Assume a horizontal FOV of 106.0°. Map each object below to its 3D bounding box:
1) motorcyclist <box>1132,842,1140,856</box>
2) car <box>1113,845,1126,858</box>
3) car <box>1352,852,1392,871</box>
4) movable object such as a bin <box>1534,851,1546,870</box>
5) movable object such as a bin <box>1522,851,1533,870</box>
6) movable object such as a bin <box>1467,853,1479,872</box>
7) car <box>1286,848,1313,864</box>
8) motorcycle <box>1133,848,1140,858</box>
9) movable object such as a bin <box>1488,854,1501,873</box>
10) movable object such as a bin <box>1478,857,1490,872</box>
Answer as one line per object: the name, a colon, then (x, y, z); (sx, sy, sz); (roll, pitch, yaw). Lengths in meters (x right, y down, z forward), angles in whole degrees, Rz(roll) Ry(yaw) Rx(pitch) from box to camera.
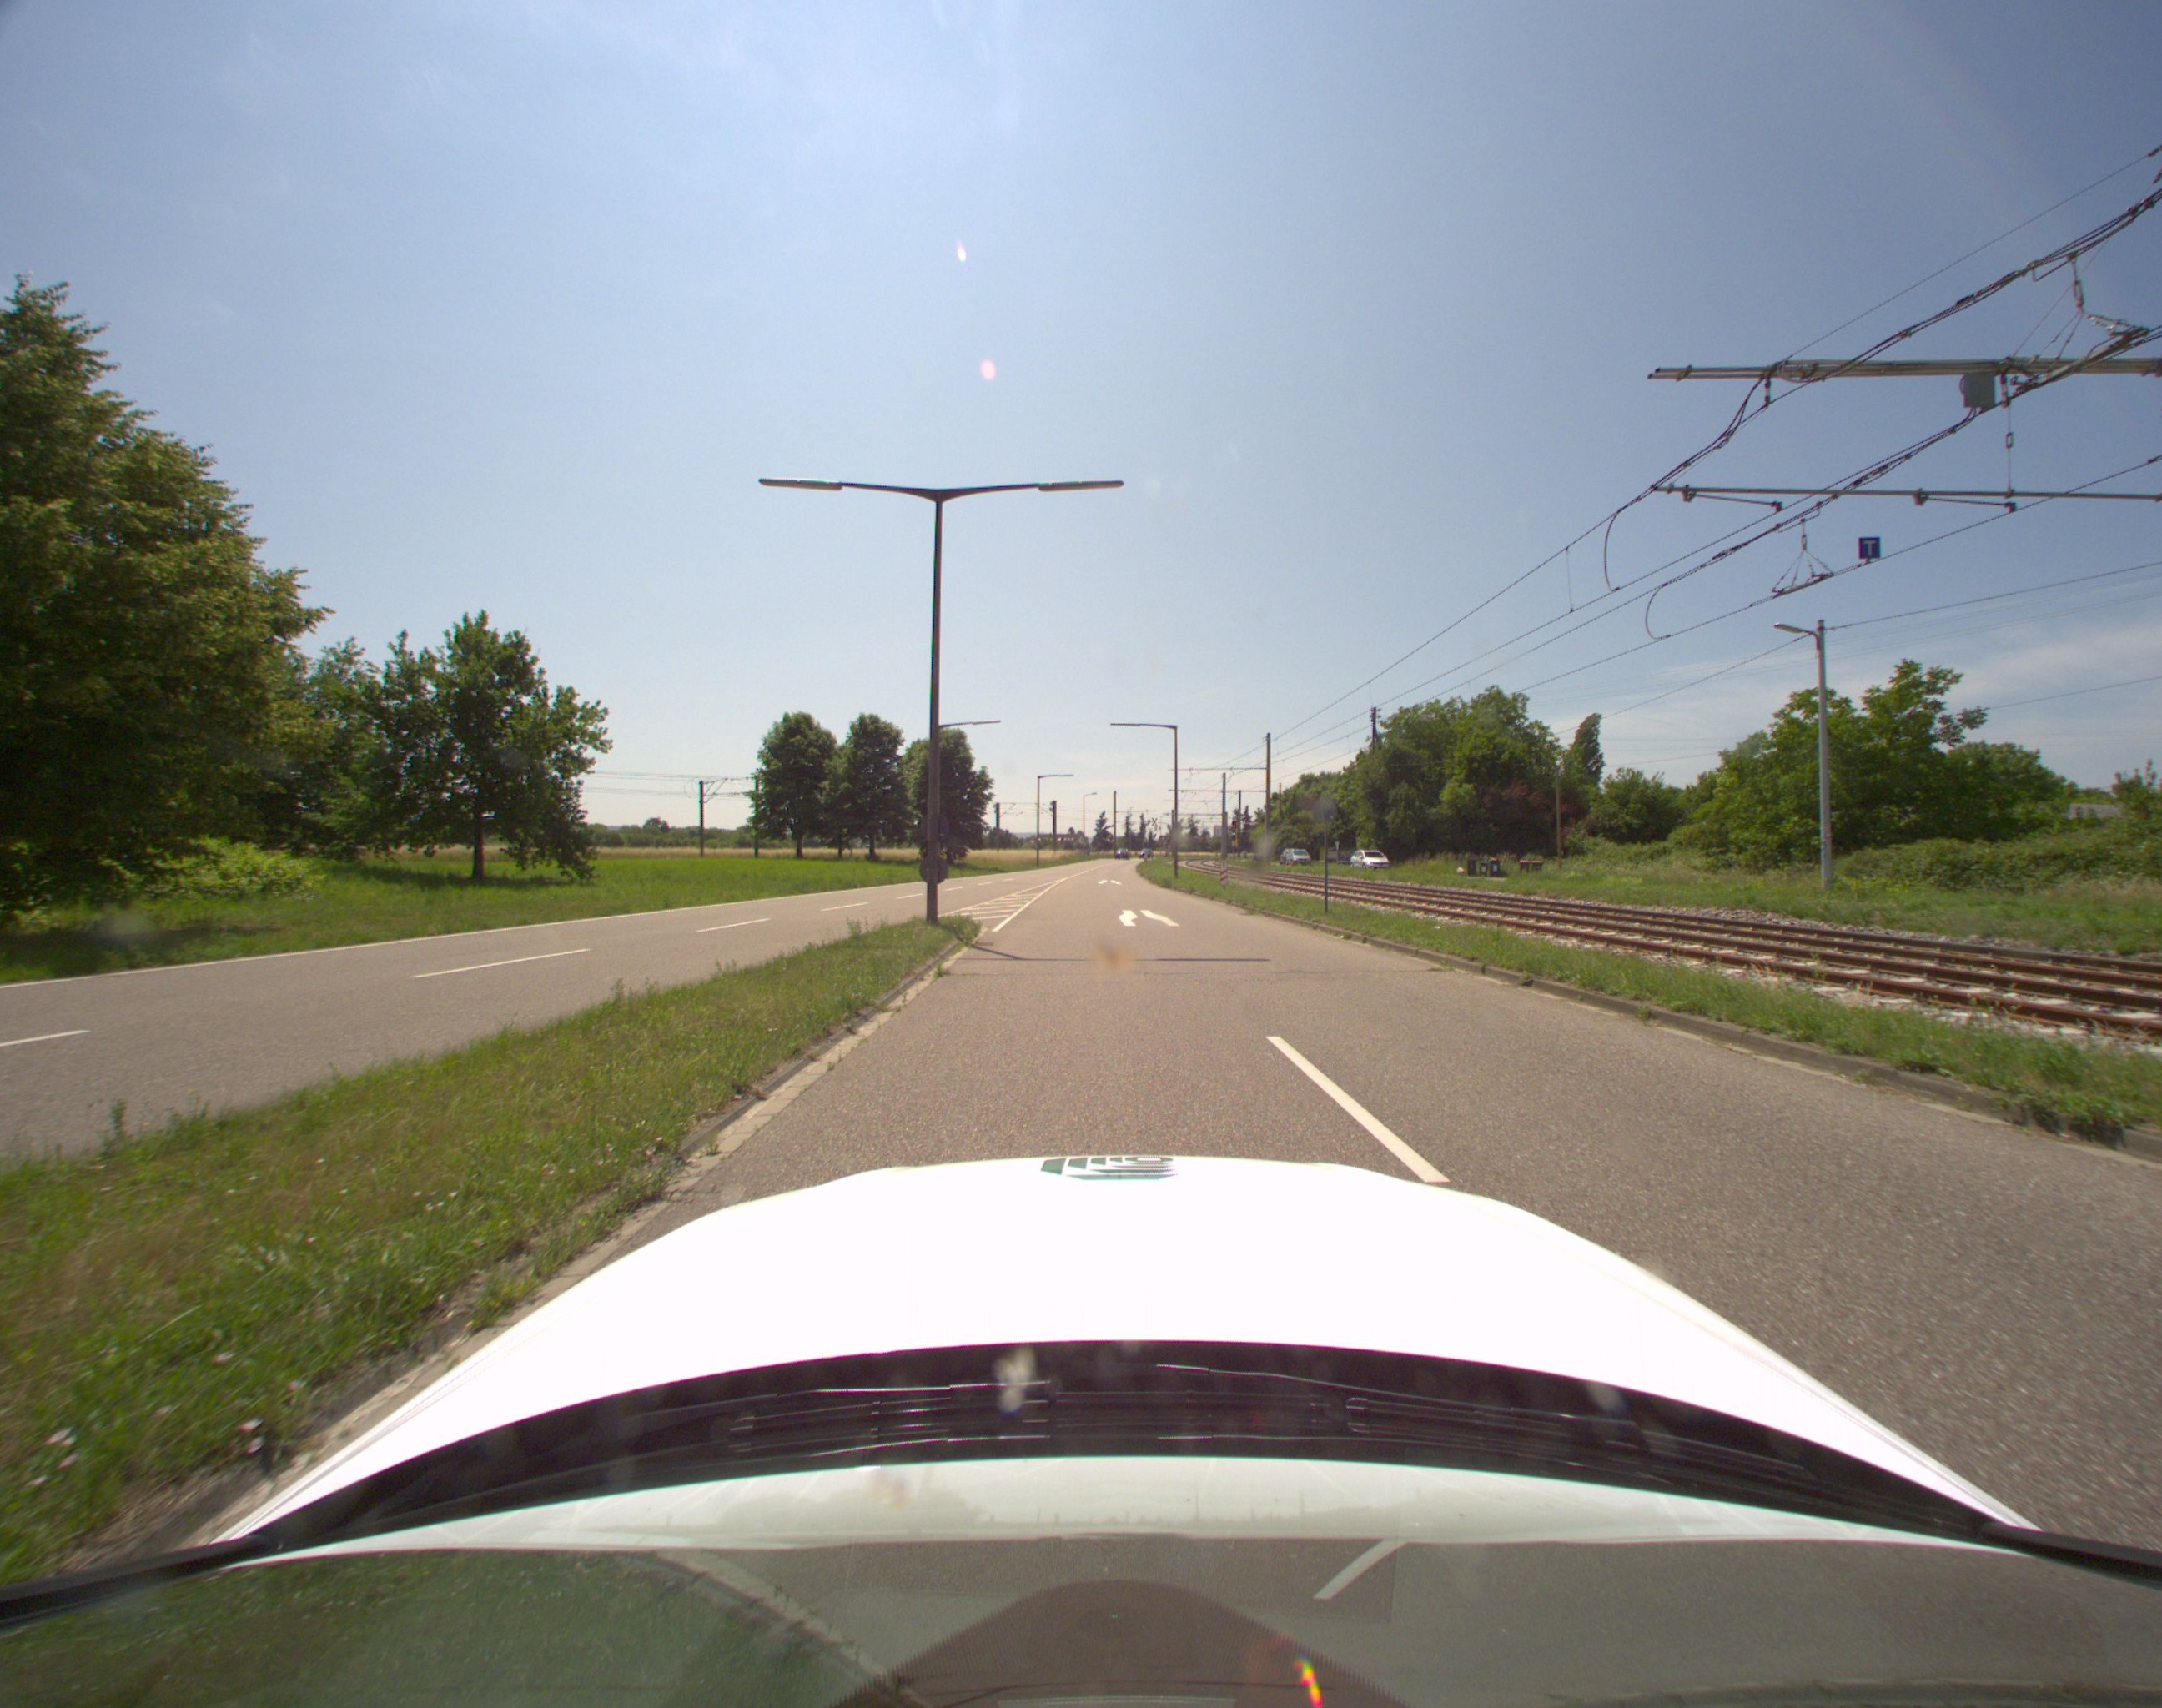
motorcyclist: (9.845, -0.923, 144.724); (1.224, 2.351, 1.109); (2, -1, 8)
car: (5.518, -0.301, 115.905); (1.394, 1.771, 3.264); (2, 0, 11)
car: (19.160, 0.478, 53.730); (1.558, 1.179, 3.078); (0, 0, -1)
movable object such as a bin: (25.790, 0.346, 45.737); (0.445, 1.050, 0.501); (0, 0, 13)
movable object such as a bin: (25.186, 0.349, 45.922); (0.445, 1.050, 0.501); (0, 0, 13)
movable object such as a bin: (22.536, 0.481, 46.815); (0.521, 1.050, 0.501); (0, 0, 13)
car: (20.663, 0.213, 77.182); (1.665, 1.397, 3.651); (2, 0, 1)
motorcycle: (9.824, -0.152, 144.794); (0.983, 1.580, 3.408); (2, 0, 9)
movable object such as a bin: (23.625, 0.525, 46.524); (0.521, 1.050, 0.501); (0, 0, 13)
movable object such as a bin: (23.099, 0.597, 46.676); (0.521, 0.864, 0.501); (0, 0, 13)
